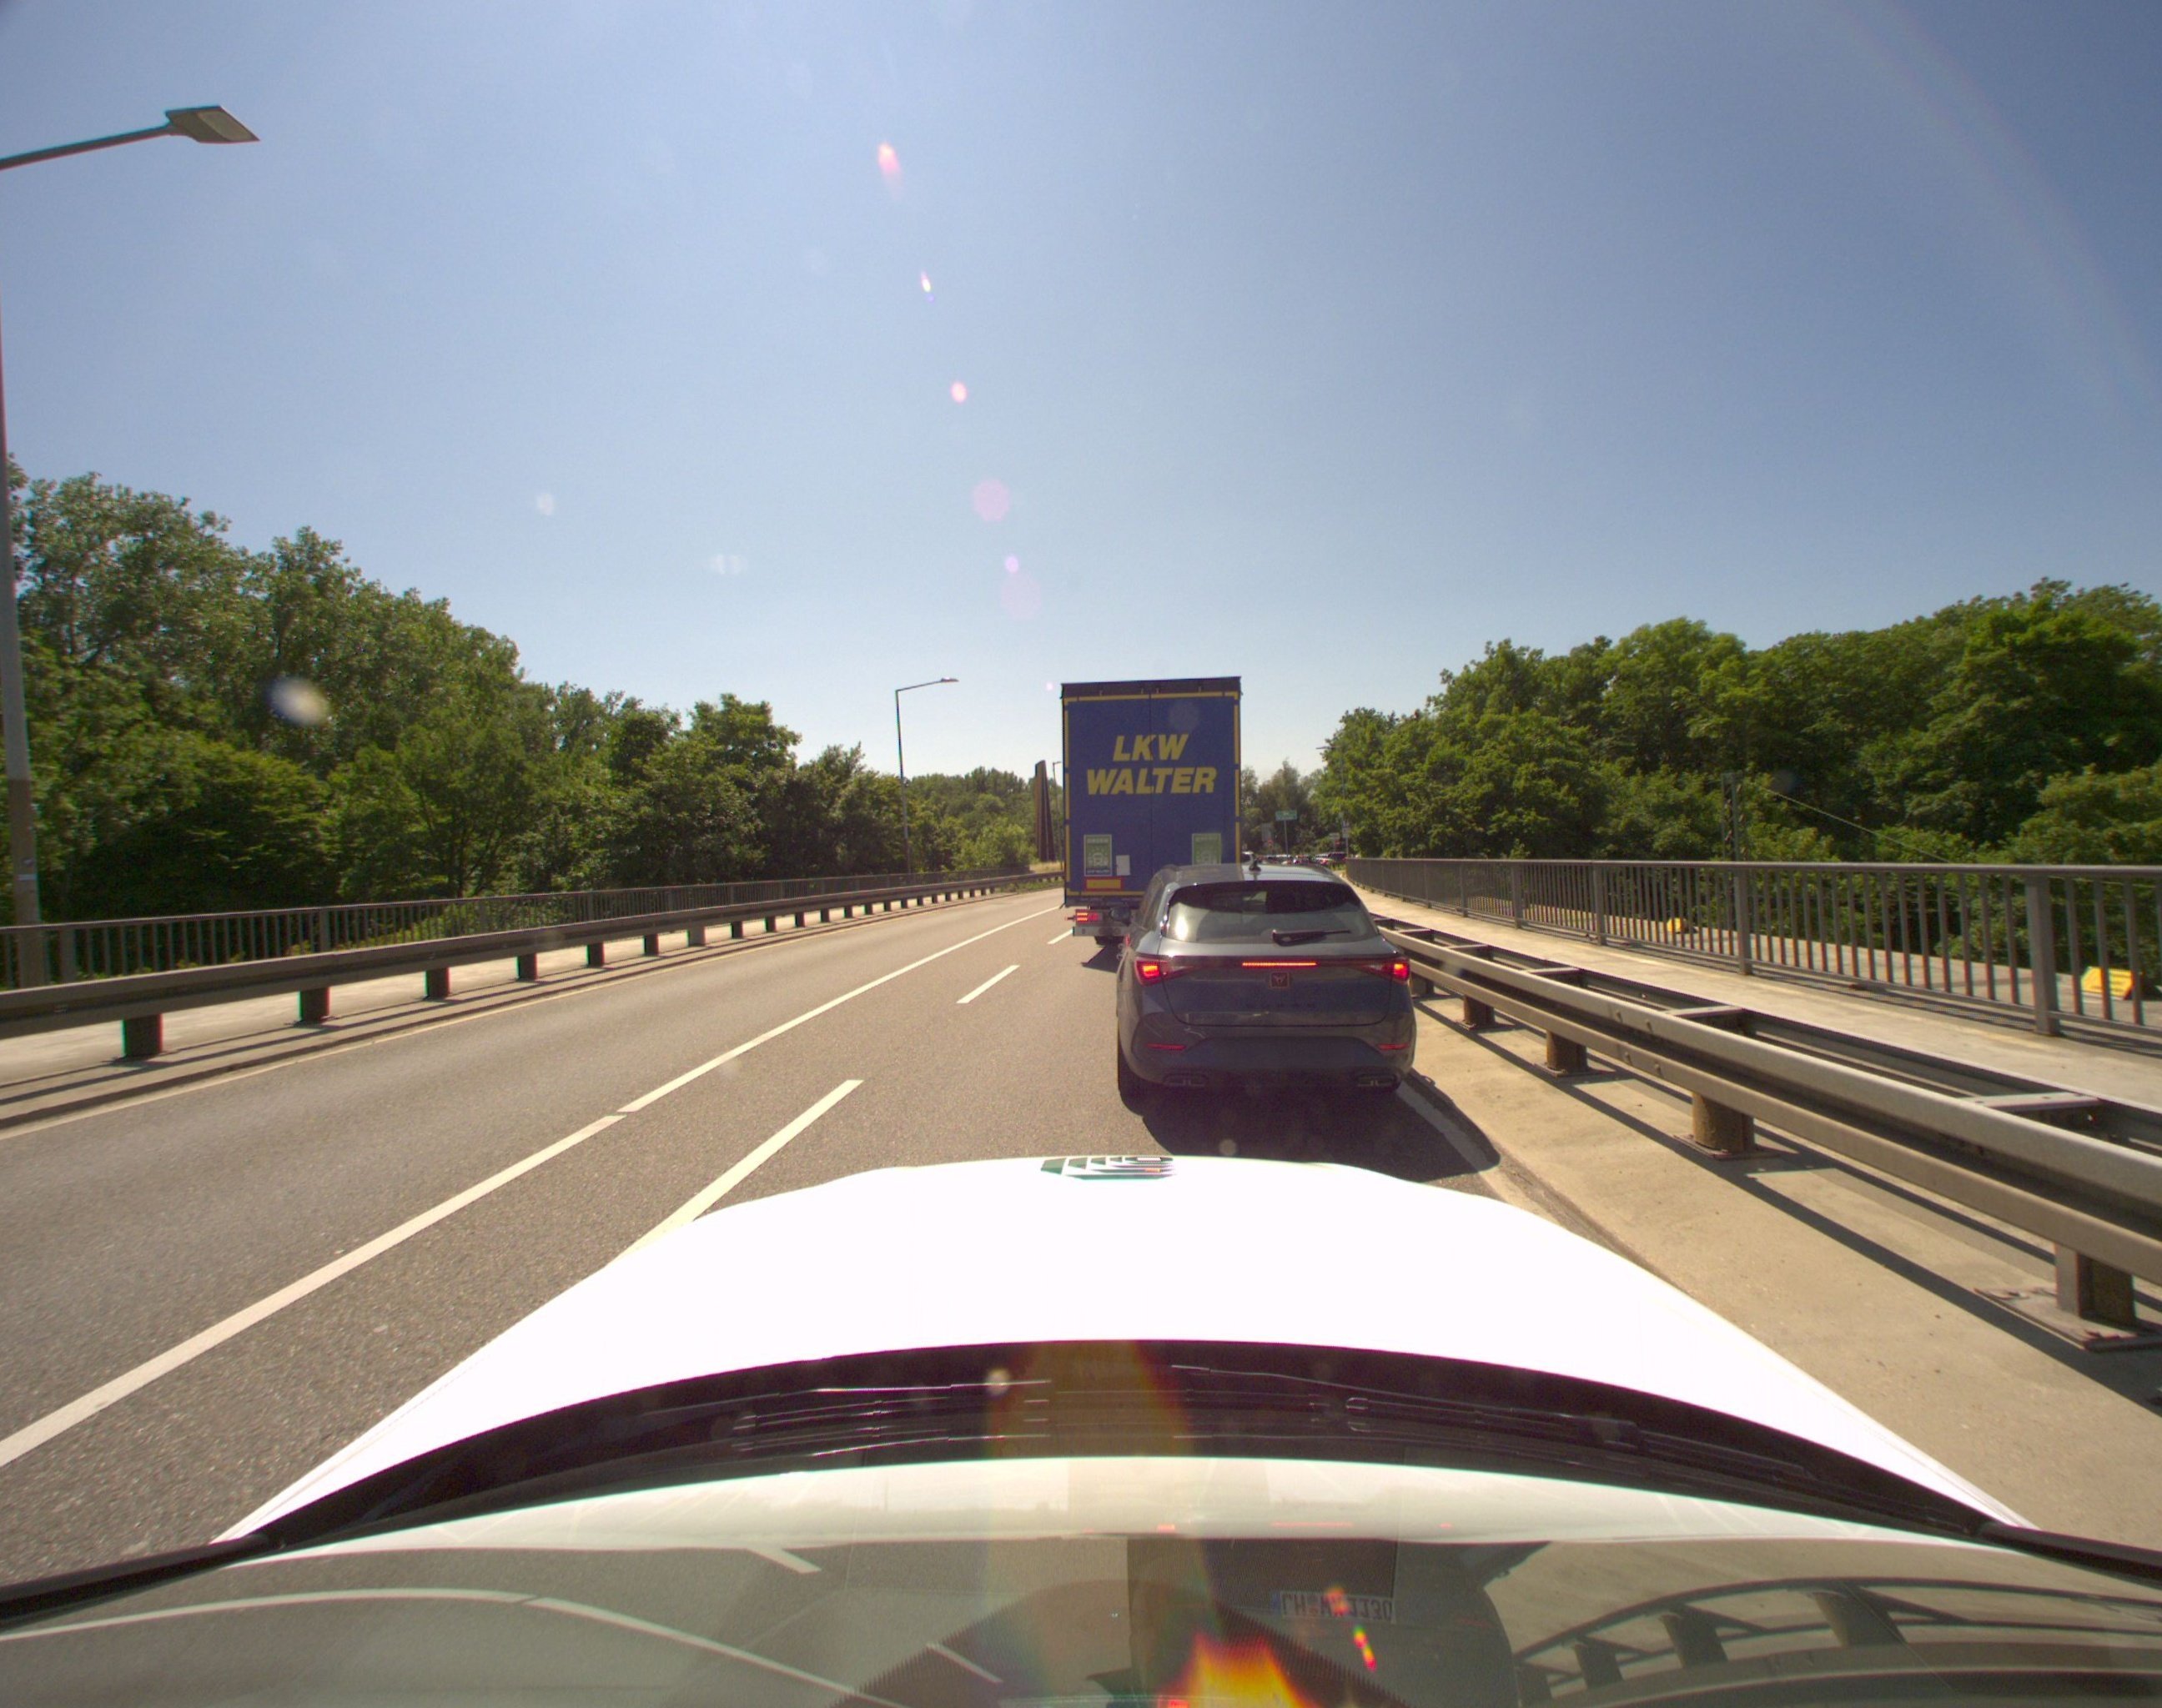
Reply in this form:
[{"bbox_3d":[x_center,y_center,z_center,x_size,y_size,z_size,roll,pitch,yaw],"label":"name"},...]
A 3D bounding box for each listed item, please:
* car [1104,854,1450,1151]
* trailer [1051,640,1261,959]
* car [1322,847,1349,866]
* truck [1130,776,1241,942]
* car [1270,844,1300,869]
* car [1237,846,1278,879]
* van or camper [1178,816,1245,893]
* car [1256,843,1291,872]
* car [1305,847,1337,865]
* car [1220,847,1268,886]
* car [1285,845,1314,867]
[{"bbox_3d":[1.114,0.752,6.034,1.669,1.456,3.963,-1,0,4],"label":"car"},{"bbox_3d":[2.065,-0.750,17.644,2.887,4.418,12.466,-1,0,10],"label":"trailer"},{"bbox_3d":[24.979,0.274,79.922,1.669,1.760,4.025,-2,-1,30],"label":"car"},{"bbox_3d":[3.351,0.137,25.092,2.887,4.418,6.573,-1,0,10],"label":"truck"},{"bbox_3d":[15.362,0.164,61.282,1.706,1.844,4.021,-1,0,21],"label":"car"},{"bbox_3d":[10.270,0.475,47.199,1.706,1.802,4.020,-1,0,20],"label":"car"},{"bbox_3d":[5.503,0.015,33.614,2.139,2.815,6.411,-1,0,14],"label":"van or camper"},{"bbox_3d":[13.065,0.233,55.181,1.706,1.844,4.021,-1,0,21],"label":"car"},{"bbox_3d":[21.858,0.199,74.022,1.975,1.575,4.024,0,-1,28],"label":"car"},{"bbox_3d":[8.240,0.593,40.924,1.706,1.844,4.020,-1,0,20],"label":"car"},{"bbox_3d":[18.234,0.196,67.865,1.670,1.760,4.023,-1,-1,25],"label":"car"}]
